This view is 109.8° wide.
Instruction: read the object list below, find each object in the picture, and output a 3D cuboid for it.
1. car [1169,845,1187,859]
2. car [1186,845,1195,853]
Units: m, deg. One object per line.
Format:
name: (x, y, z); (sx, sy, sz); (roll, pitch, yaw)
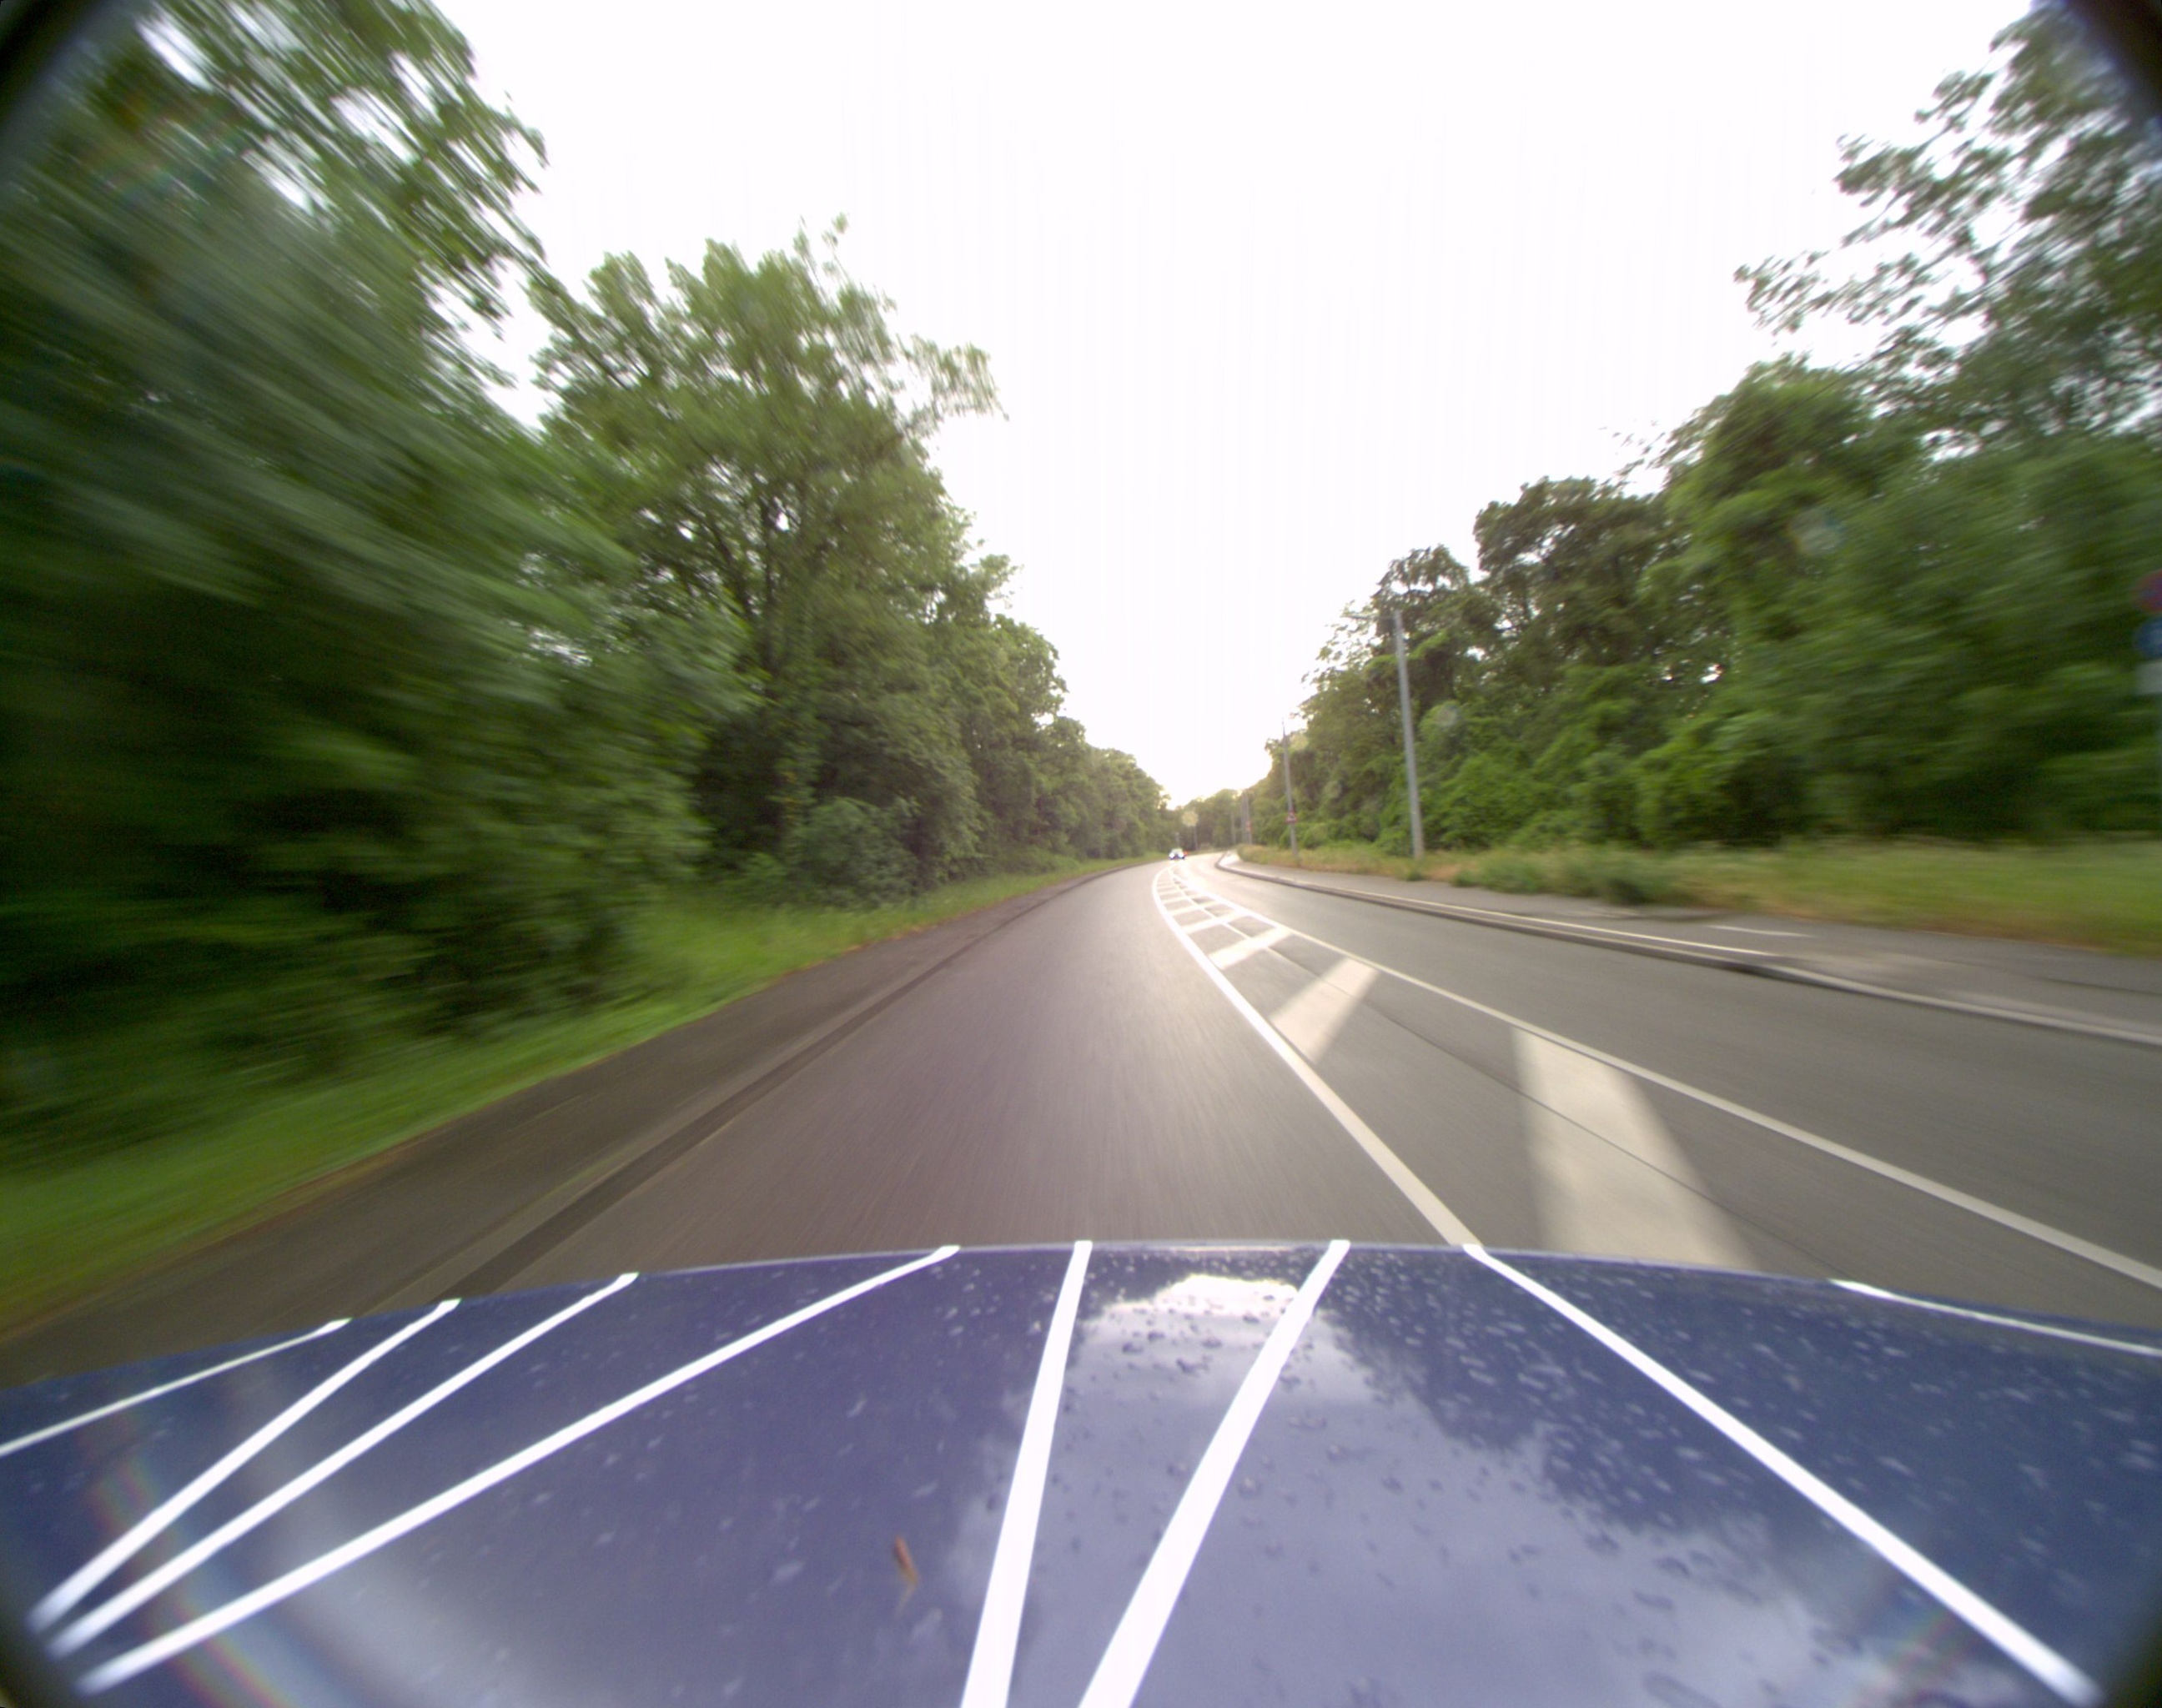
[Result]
car: (12.595, -0.257, 98.565); (1.997, 1.674, 4.003); (-3, 1, 11)
car: (30.459, -1.326, 210.754); (1.998, 2.002, 4.001); (-3, 0, 4)
